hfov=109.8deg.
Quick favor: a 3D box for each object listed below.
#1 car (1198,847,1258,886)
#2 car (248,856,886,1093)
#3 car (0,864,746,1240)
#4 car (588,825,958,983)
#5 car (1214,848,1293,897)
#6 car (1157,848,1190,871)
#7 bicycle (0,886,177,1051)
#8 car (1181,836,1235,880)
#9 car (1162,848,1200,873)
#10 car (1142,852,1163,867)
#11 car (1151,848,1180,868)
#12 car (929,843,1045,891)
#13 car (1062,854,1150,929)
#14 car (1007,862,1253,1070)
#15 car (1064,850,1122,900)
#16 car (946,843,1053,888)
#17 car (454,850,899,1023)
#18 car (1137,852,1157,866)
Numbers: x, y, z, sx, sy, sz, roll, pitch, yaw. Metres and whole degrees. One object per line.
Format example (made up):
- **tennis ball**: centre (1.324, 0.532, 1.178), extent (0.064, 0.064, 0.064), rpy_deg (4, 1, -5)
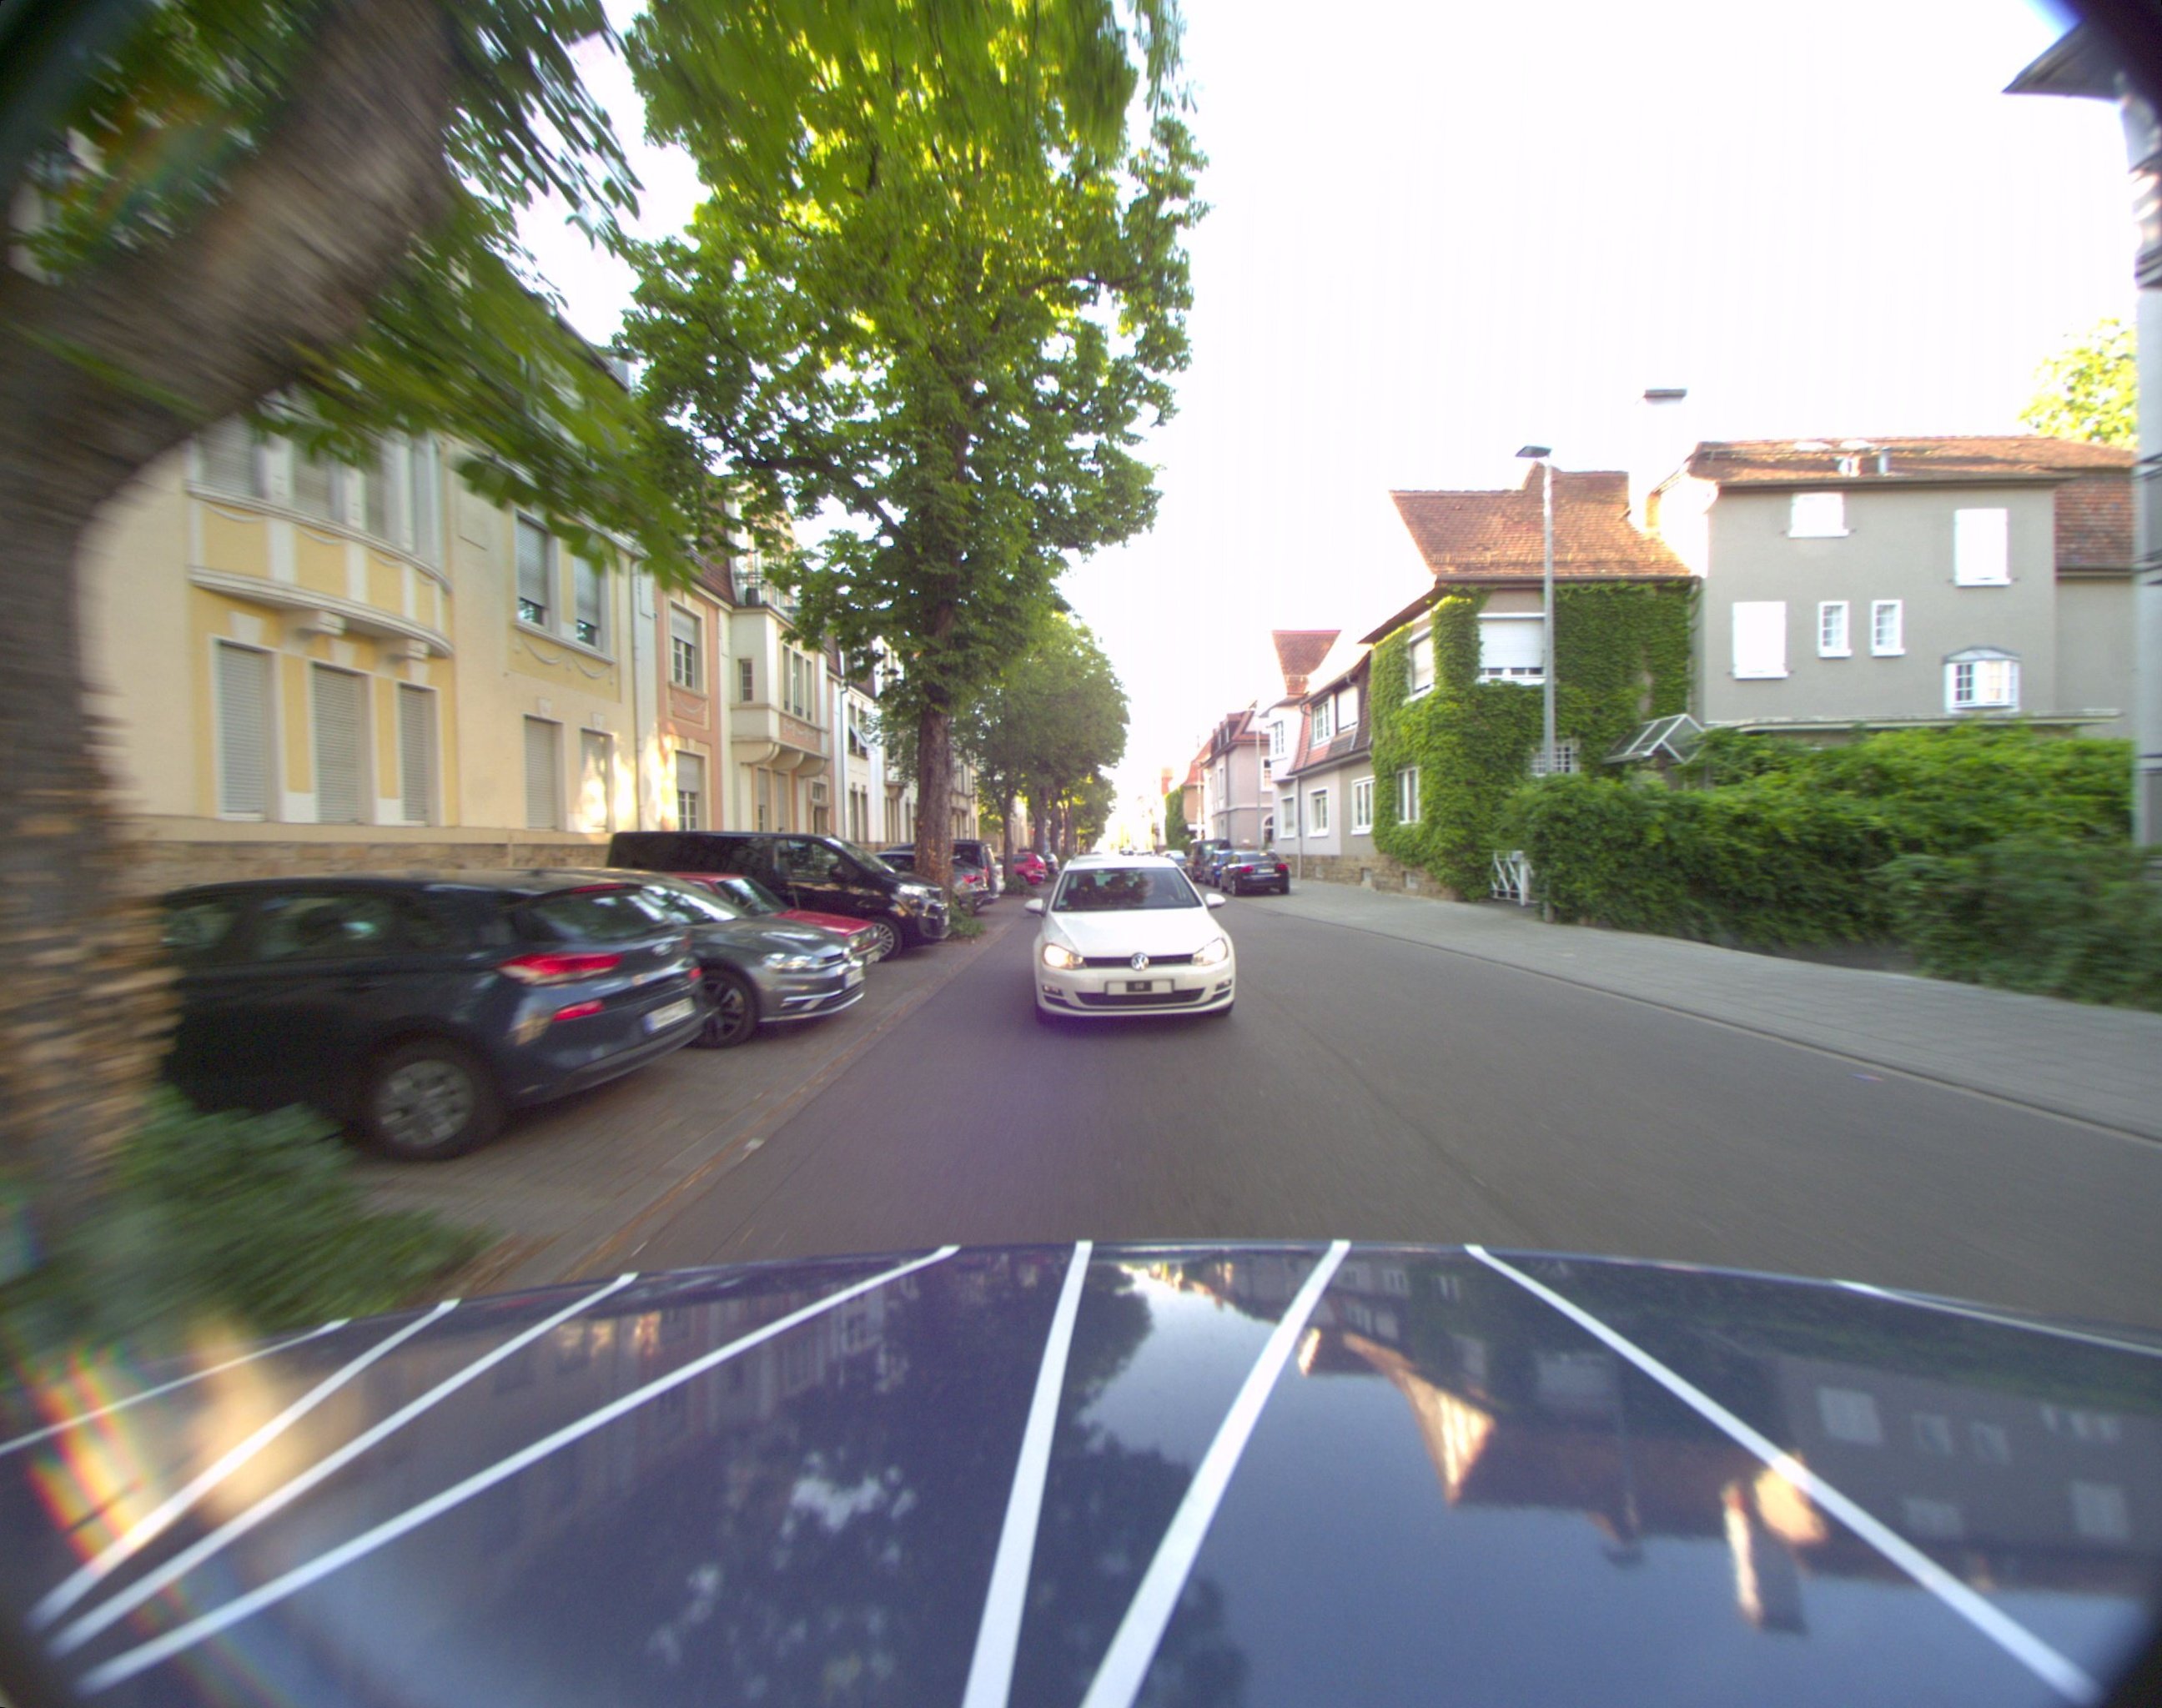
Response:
- **car**: centre (6.001, 0.458, 31.371), extent (1.692, 1.445, 4.000), rpy_deg (-3, 0, 1)
- **car**: centre (-4.132, 0.915, 6.757), extent (4.208, 1.598, 1.999), rpy_deg (-2, 1, -1)
- **car**: centre (-4.593, 0.979, 4.559), extent (4.208, 1.619, 1.973), rpy_deg (-2, 1, -1)
- **car**: centre (-4.415, 0.684, 11.526), extent (4.709, 2.002, 1.999), rpy_deg (-2, 1, -1)
- **car**: centre (5.624, 0.549, 25.183), extent (1.692, 1.445, 4.000), rpy_deg (-3, 0, 1)
- **car**: centre (6.457, 0.354, 53.352), extent (1.821, 1.419, 4.288), rpy_deg (-3, 0, 1)
- **bicycle**: centre (-9.142, 0.957, 6.209), extent (0.761, 1.277, 2.204), rpy_deg (1, 1, 5)
- **car**: centre (5.963, 0.162, 36.103), extent (1.821, 1.895, 4.288), rpy_deg (-3, 0, 1)
- **car**: centre (6.187, 0.394, 47.608), extent (1.821, 1.419, 4.288), rpy_deg (-3, 0, 1)
- **car**: centre (7.383, 0.517, 79.076), extent (1.821, 1.419, 4.288), rpy_deg (-3, 0, 1)
- **car**: centre (6.818, 0.305, 61.518), extent (1.821, 1.419, 4.288), rpy_deg (-3, 0, 1)
- **car**: centre (-3.998, 0.535, 33.003), extent (4.709, 1.863, 1.999), rpy_deg (-2, 1, -1)
- **car**: centre (0.570, 0.819, 18.542), extent (1.843, 1.509, 4.022), rpy_deg (-2, 1, 1)
- **car**: centre (0.408, 0.887, 7.902), extent (1.843, 1.442, 4.110), rpy_deg (-2, 1, 1)
- **car**: centre (0.429, 0.682, 27.291), extent (1.843, 1.509, 4.753), rpy_deg (-2, 1, 1)
- **car**: centre (-3.758, 0.512, 35.651), extent (4.709, 1.863, 1.999), rpy_deg (-2, 1, -1)
- **car**: centre (-4.581, 0.885, 9.172), extent (4.208, 1.678, 1.999), rpy_deg (-2, 1, -1)
- **car**: centre (7.468, 0.523, 86.419), extent (1.821, 1.419, 4.288), rpy_deg (-3, 0, 1)
